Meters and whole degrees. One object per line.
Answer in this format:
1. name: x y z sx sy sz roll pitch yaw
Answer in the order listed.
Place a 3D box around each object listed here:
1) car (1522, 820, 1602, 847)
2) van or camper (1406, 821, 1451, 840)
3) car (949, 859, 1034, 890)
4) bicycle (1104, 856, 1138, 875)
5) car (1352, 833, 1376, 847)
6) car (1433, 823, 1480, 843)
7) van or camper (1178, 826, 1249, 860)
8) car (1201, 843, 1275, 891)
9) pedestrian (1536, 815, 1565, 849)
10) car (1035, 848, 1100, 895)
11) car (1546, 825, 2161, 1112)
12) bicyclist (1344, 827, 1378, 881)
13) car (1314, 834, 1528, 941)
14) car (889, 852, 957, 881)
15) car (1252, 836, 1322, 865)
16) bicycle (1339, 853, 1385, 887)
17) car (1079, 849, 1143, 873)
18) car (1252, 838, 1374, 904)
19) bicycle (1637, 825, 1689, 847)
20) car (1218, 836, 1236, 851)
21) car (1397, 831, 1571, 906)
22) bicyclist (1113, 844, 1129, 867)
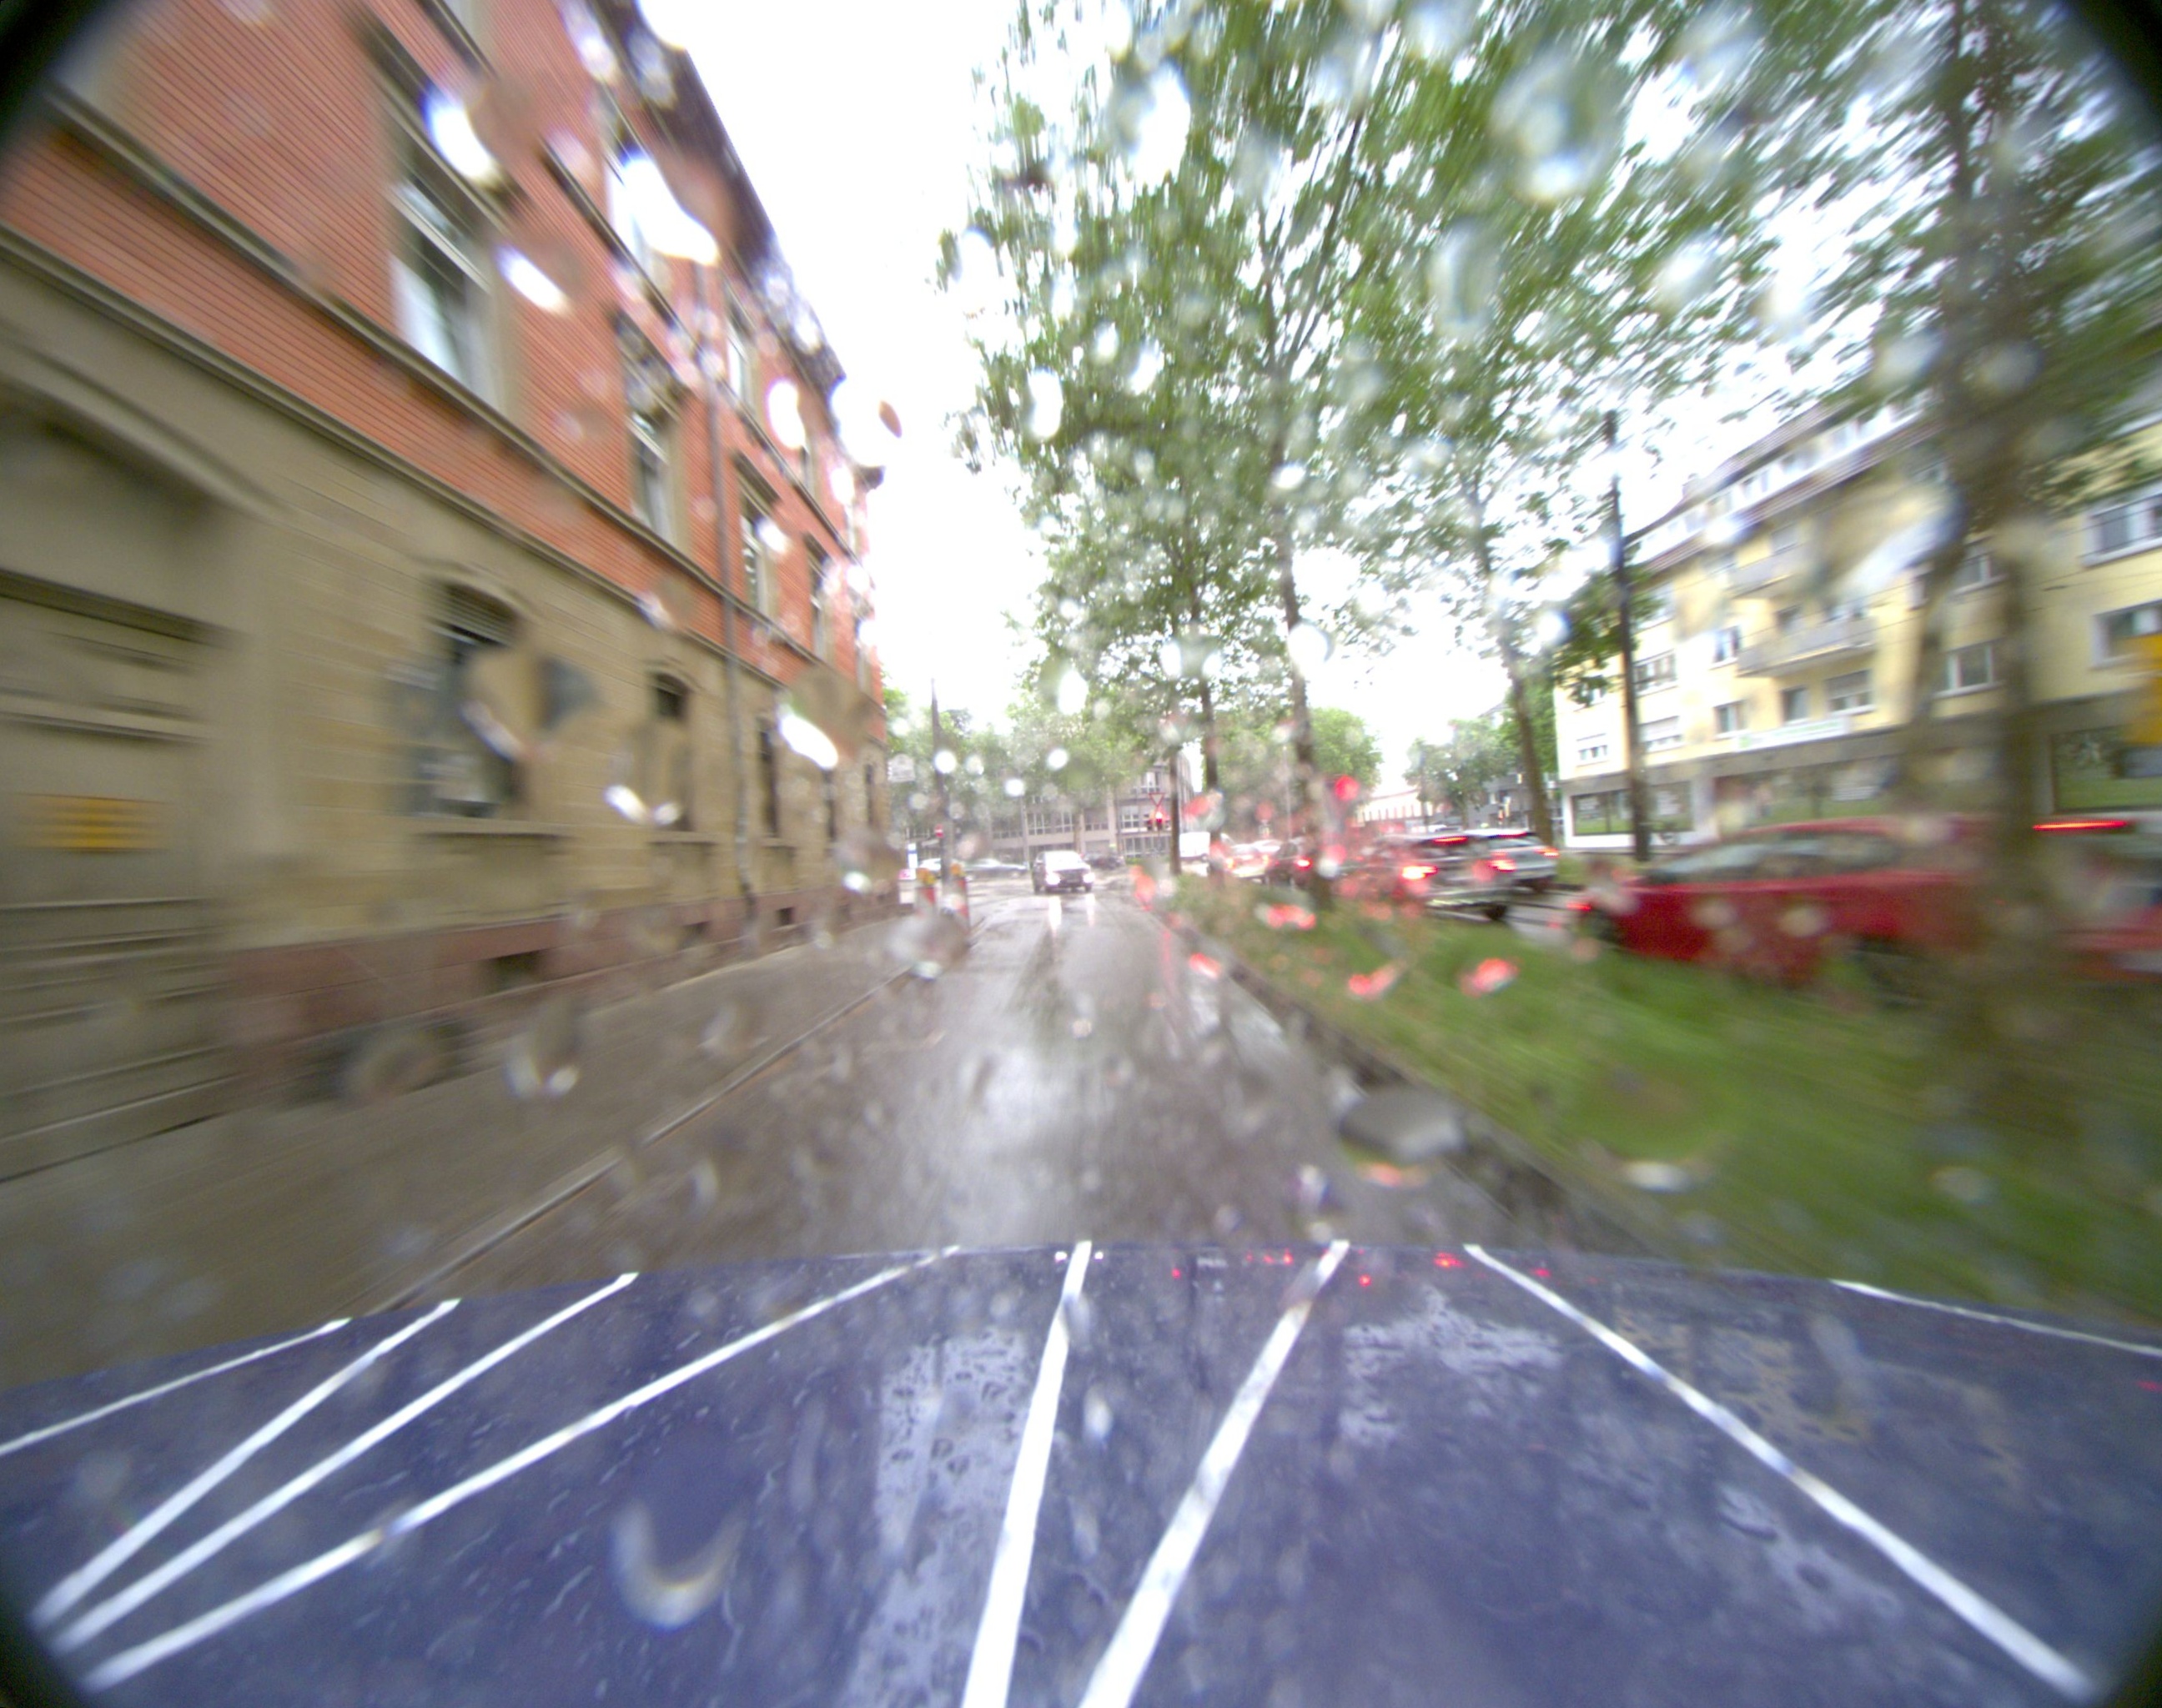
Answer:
1. car: 35.140 -1.493 55.551 4.678 1.637 1.913 -4 2 -5
2. van or camper: 43.360 -2.911 94.877 4.648 2.063 2.001 -2 1 10
3. car: -5.978 1.329 50.349 5.337 1.583 1.947 -4 0 -12
4. bicycle: 2.596 0.753 49.784 1.998 1.082 0.818 -5 1 -8
5. car: 33.864 -1.698 90.784 1.808 1.528 4.198 -3 1 32
6. car: 42.805 -2.437 86.733 4.389 2.002 2.069 -3 2 17
7. van or camper: 11.188 -0.918 64.139 5.979 2.457 2.177 -4 1 -35
8. car: 5.662 0.439 27.946 1.739 1.480 4.500 -4 0 0
9. pedestrian: 24.325 -1.144 39.394 1.015 1.668 0.815 -3 1 13
10. car: -0.649 0.650 31.455 1.914 1.637 4.675 -4 1 -9
11. car: 5.891 0.573 6.031 1.746 1.389 4.233 -4 0 0
12. bicyclist: 9.230 -0.014 25.070 0.714 1.706 0.889 -4 2 -3
13. car: 5.712 0.493 13.461 1.746 1.471 4.431 -4 0 1
14. car: -11.251 0.844 53.930 4.558 1.650 1.785 -4 2 -14
15. car: 14.509 -0.241 53.596 4.266 1.732 1.975 -4 2 -8
16. bicycle: 9.264 0.512 25.104 0.719 1.026 1.815 -4 2 -3
17. car: 2.325 0.516 58.494 4.562 1.505 1.783 -5 2 -28
18. car: 6.173 0.416 20.816 1.861 1.476 4.640 -4 0 0
19. bicycle: 24.499 -0.740 32.040 0.613 0.891 2.046 -4 1 1
20. car: 18.824 -1.335 97.947 2.001 1.761 4.003 -3 1 13
21. car: 8.972 0.289 17.372 1.746 1.389 4.130 -4 0 1
22. bicyclist: 2.614 0.096 49.850 0.805 1.462 0.927 -2 2 -7
